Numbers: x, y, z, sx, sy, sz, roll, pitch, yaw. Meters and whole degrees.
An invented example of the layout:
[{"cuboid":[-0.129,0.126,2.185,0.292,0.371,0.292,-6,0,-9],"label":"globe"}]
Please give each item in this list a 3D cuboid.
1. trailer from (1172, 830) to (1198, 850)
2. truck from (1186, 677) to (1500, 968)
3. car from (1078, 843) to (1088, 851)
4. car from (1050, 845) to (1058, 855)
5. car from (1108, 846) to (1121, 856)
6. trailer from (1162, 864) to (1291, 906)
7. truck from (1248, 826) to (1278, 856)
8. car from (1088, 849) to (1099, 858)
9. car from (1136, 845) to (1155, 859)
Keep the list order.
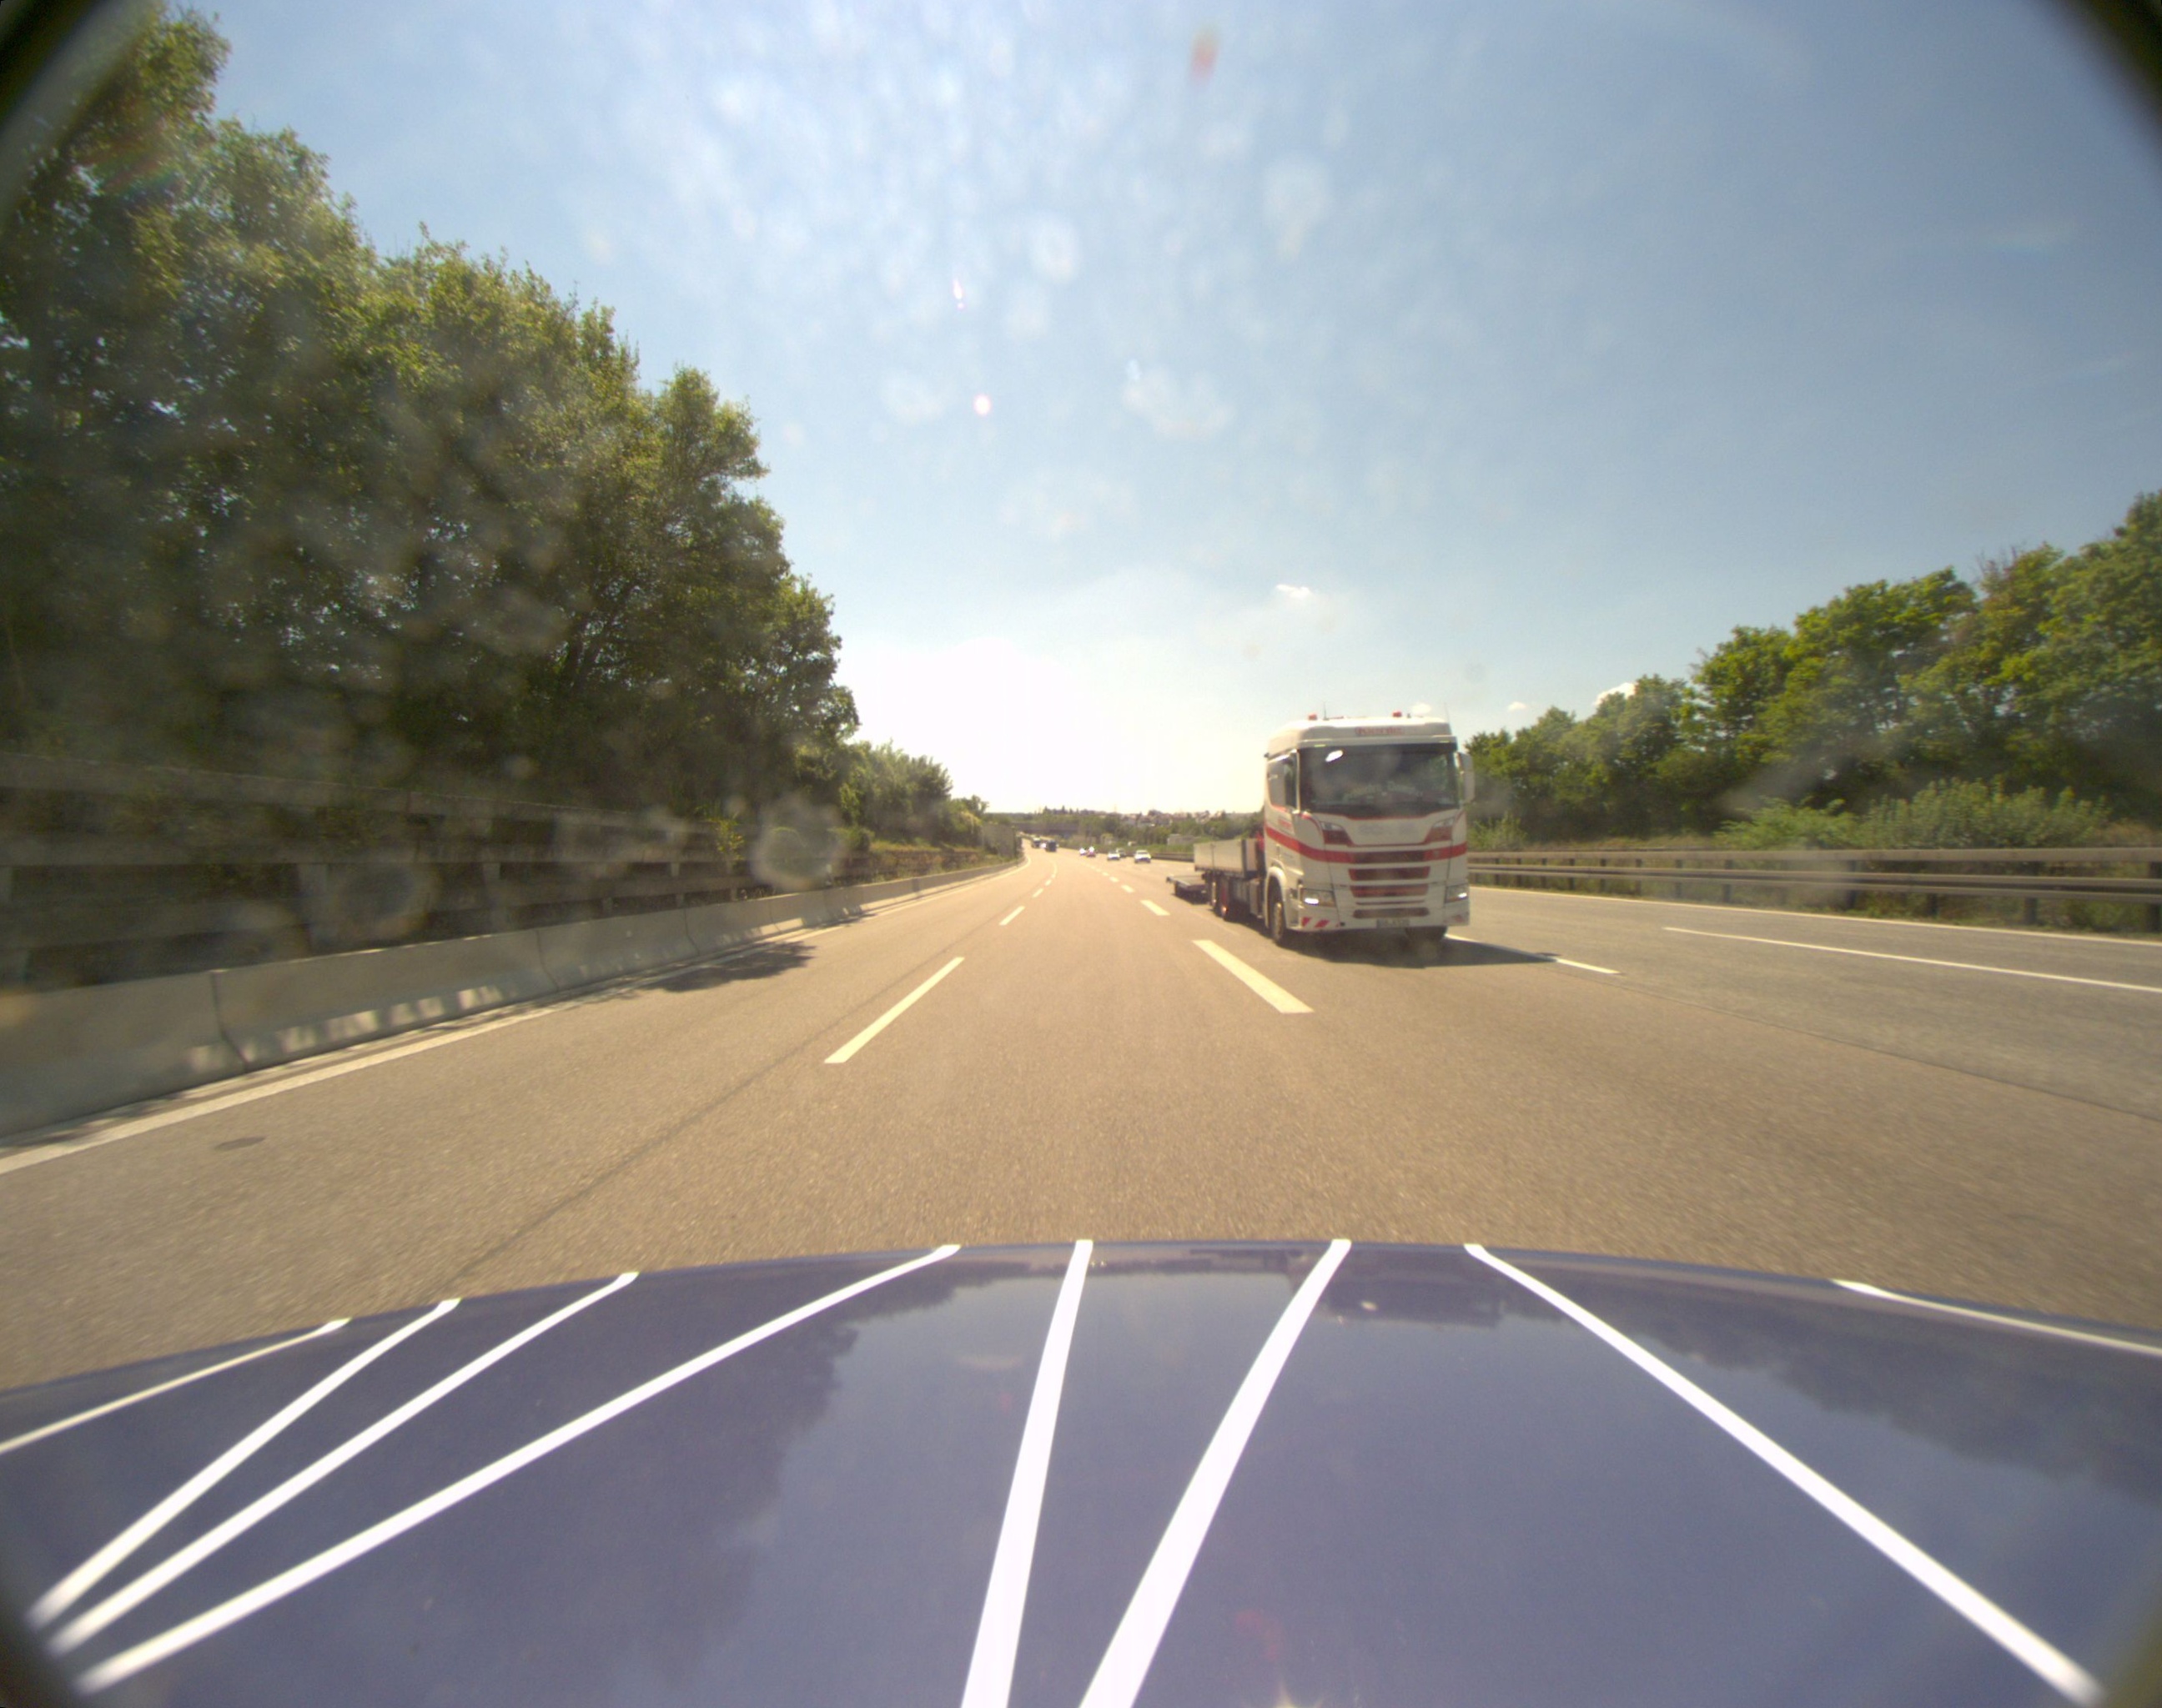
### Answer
[{"cuboid":[22.345,-3.022,164.110,3.401,4.066,13.922,-2,1,-1],"label":"trailer"},{"cuboid":[4.224,-0.442,15.446,2.721,3.780,10.671,-2,0,1],"label":"truck"},{"cuboid":[0.495,-1.686,183.780,1.999,1.832,3.998,-2,1,-3],"label":"car"},{"cuboid":[-8.825,-1.361,246.234,2.116,3.284,6.441,-2,1,-5],"label":"car"},{"cuboid":[5.333,-0.468,120.718,1.787,1.494,4.168,-1,2,-2],"label":"car"},{"cuboid":[4.388,0.905,24.636,2.721,0.929,7.759,-2,0,1],"label":"trailer"},{"cuboid":[25.242,-1.787,105.628,2.702,3.866,5.744,-2,1,0],"label":"truck"},{"cuboid":[2.574,-0.063,158.103,1.999,1.832,3.998,-2,1,-3],"label":"car"},{"cuboid":[8.034,-0.259,94.762,1.883,1.543,3.999,-2,0,0],"label":"car"}]
